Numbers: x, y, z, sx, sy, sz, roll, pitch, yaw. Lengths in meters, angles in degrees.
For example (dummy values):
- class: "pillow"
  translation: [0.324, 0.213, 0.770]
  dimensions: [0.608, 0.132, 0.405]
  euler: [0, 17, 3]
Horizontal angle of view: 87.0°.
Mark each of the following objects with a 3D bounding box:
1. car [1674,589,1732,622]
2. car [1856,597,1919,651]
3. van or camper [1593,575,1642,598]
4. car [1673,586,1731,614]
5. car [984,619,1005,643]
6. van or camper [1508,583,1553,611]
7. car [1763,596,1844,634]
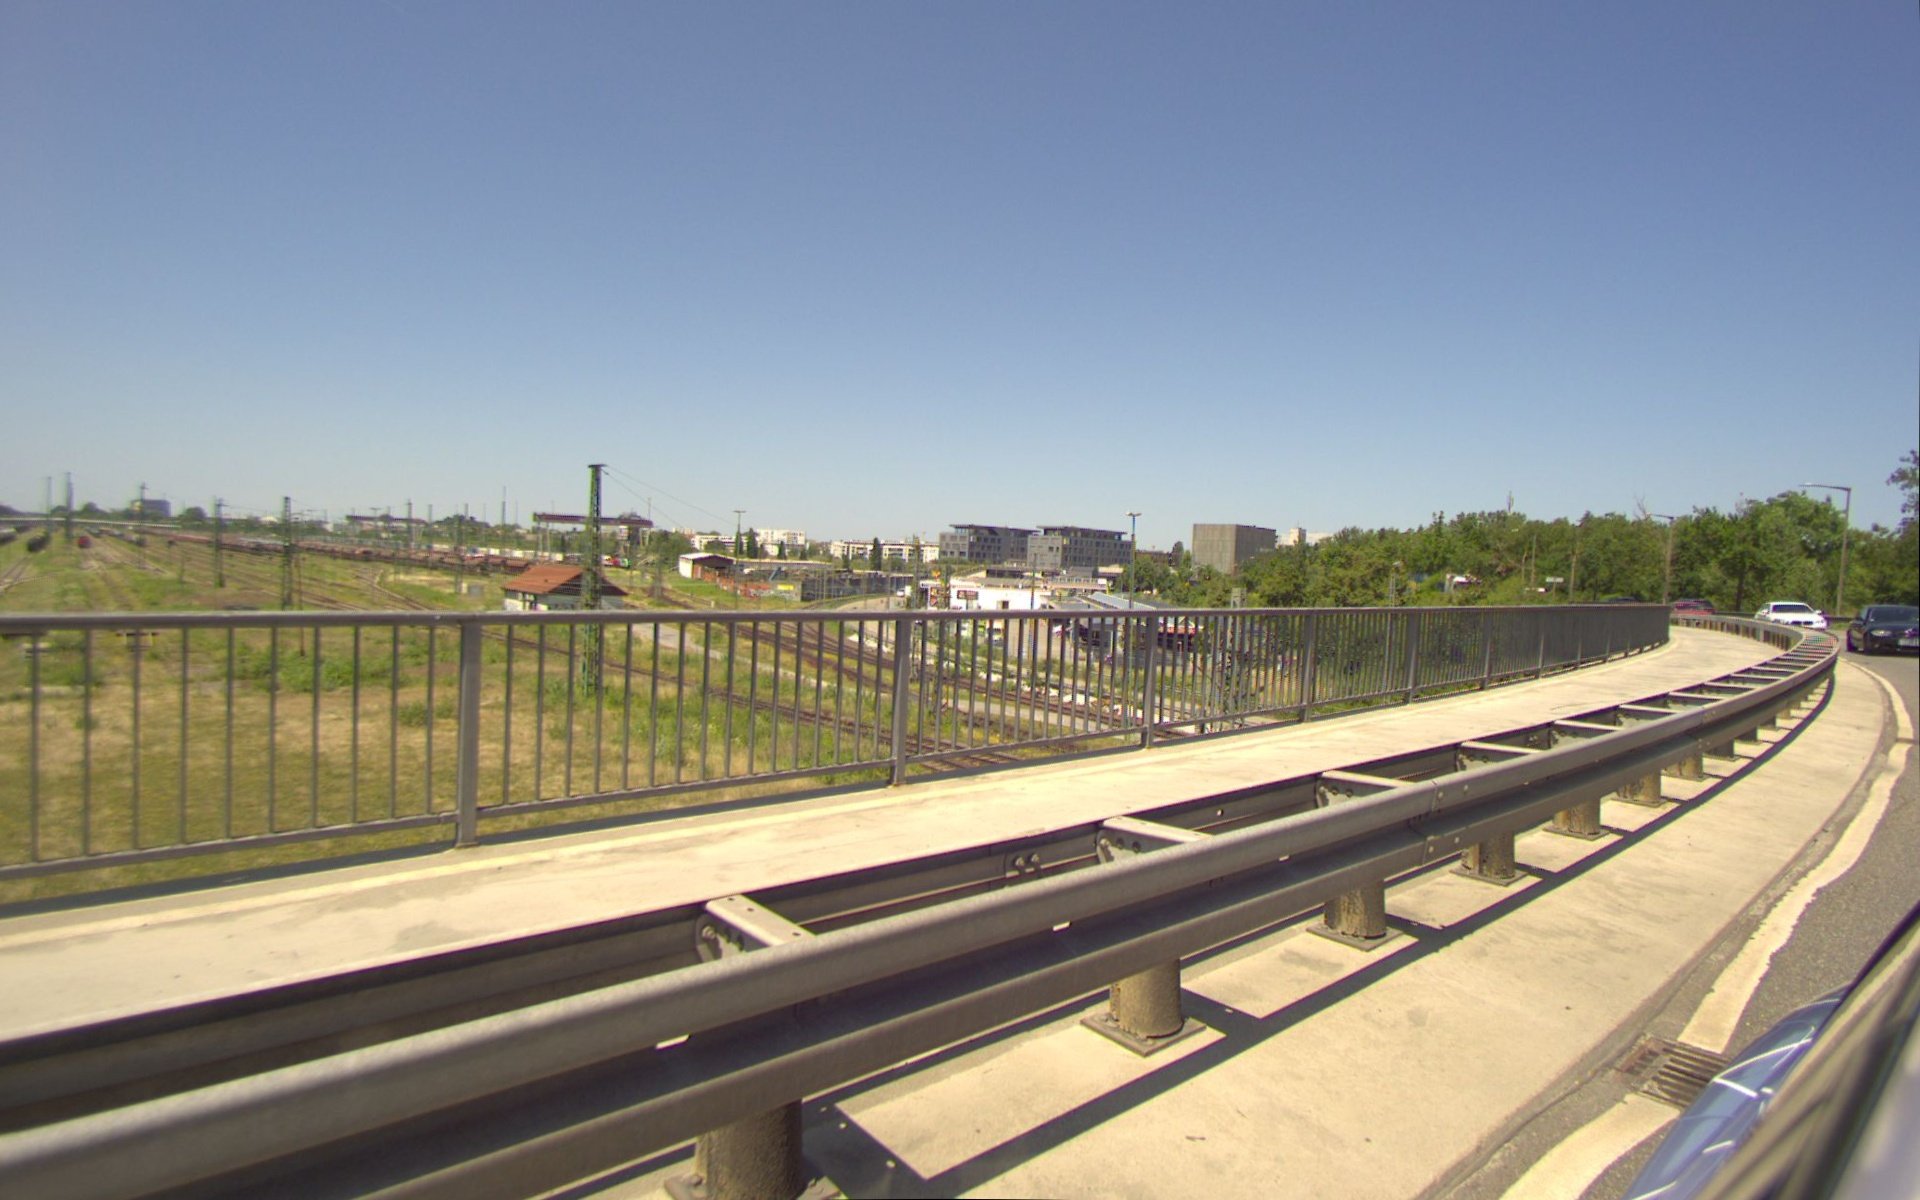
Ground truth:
- class: "car"
  translation: [42.539, 0.269, 58.008]
  dimensions: [1.883, 1.675, 4.221]
  euler: [1, 2, 26]
- class: "car"
  translation: [26.695, 0.637, 28.613]
  dimensions: [1.560, 1.434, 4.070]
  euler: [1, 1, 35]
- class: "van or camper"
  translation: [54.066, -1.144, 83.320]
  dimensions: [1.972, 1.782, 4.677]
  euler: [2, 2, 15]
- class: "car"
  translation: [49.353, -0.009, 67.426]
  dimensions: [1.878, 1.675, 4.232]
  euler: [1, 2, 19]
- class: "car"
  translation: [3.886, 3.441, 114.037]
  dimensions: [2.113, 2.381, 4.926]
  euler: [-3, 0, 1]
- class: "van or camper"
  translation: [56.812, -0.326, 100.965]
  dimensions: [2.022, 2.569, 5.866]
  euler: [2, 1, 10]
- class: "car"
  translation: [34.260, 0.580, 41.215]
  dimensions: [1.801, 1.446, 3.679]
  euler: [1, 1, 28]
